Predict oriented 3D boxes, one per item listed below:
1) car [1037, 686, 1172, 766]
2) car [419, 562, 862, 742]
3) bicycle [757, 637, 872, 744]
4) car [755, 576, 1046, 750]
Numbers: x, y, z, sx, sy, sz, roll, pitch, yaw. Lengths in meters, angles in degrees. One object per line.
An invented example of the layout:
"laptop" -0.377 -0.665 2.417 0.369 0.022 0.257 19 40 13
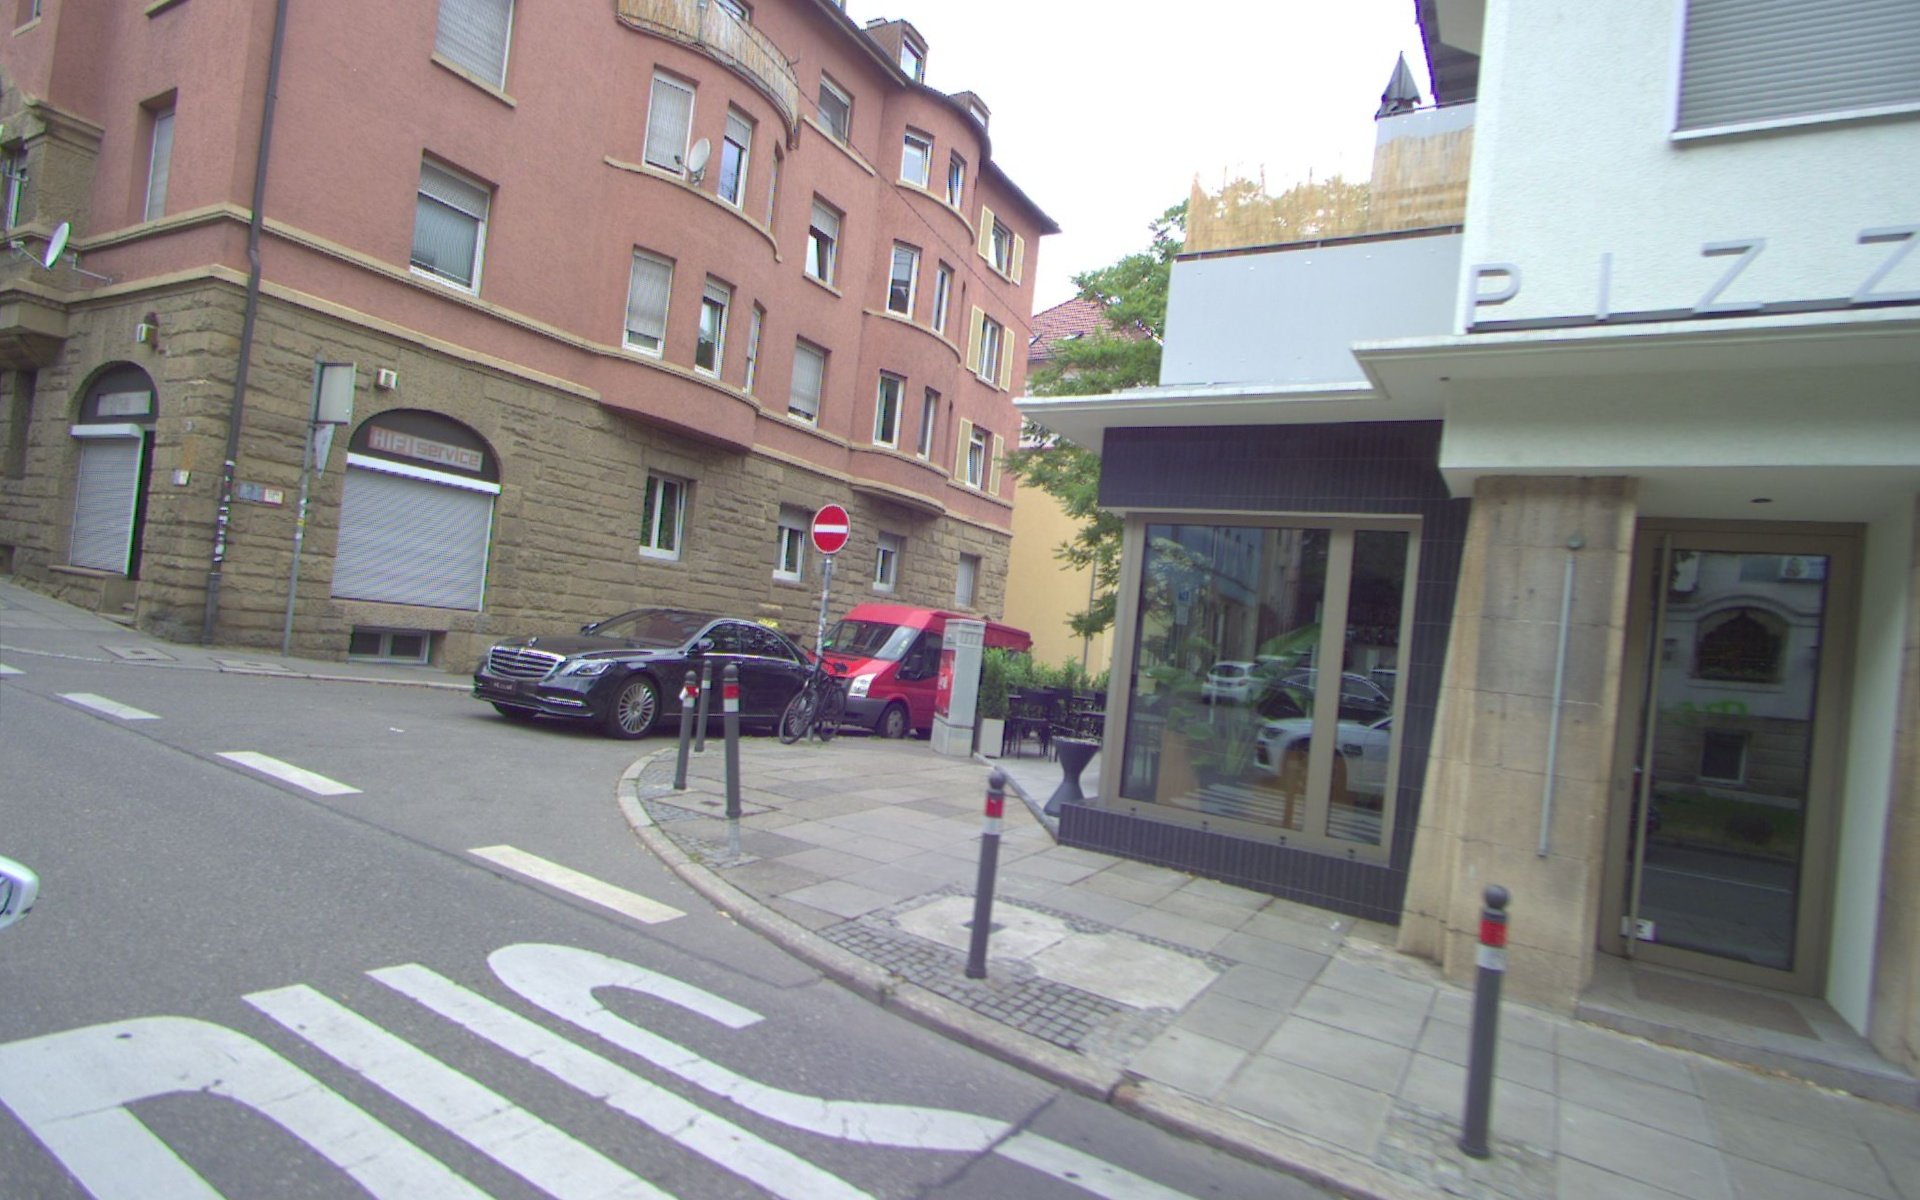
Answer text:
"car" 3.692 3.188 25.009 1.739 1.469 4.307 6 -6 30
"car" -3.559 0.809 12.514 2.199 1.566 5.148 6 -4 26
"bicycle" -1.730 1.096 12.201 0.622 1.166 1.503 4 -3 21
"car" -0.766 1.263 17.704 2.200 2.262 5.606 6 -5 30
